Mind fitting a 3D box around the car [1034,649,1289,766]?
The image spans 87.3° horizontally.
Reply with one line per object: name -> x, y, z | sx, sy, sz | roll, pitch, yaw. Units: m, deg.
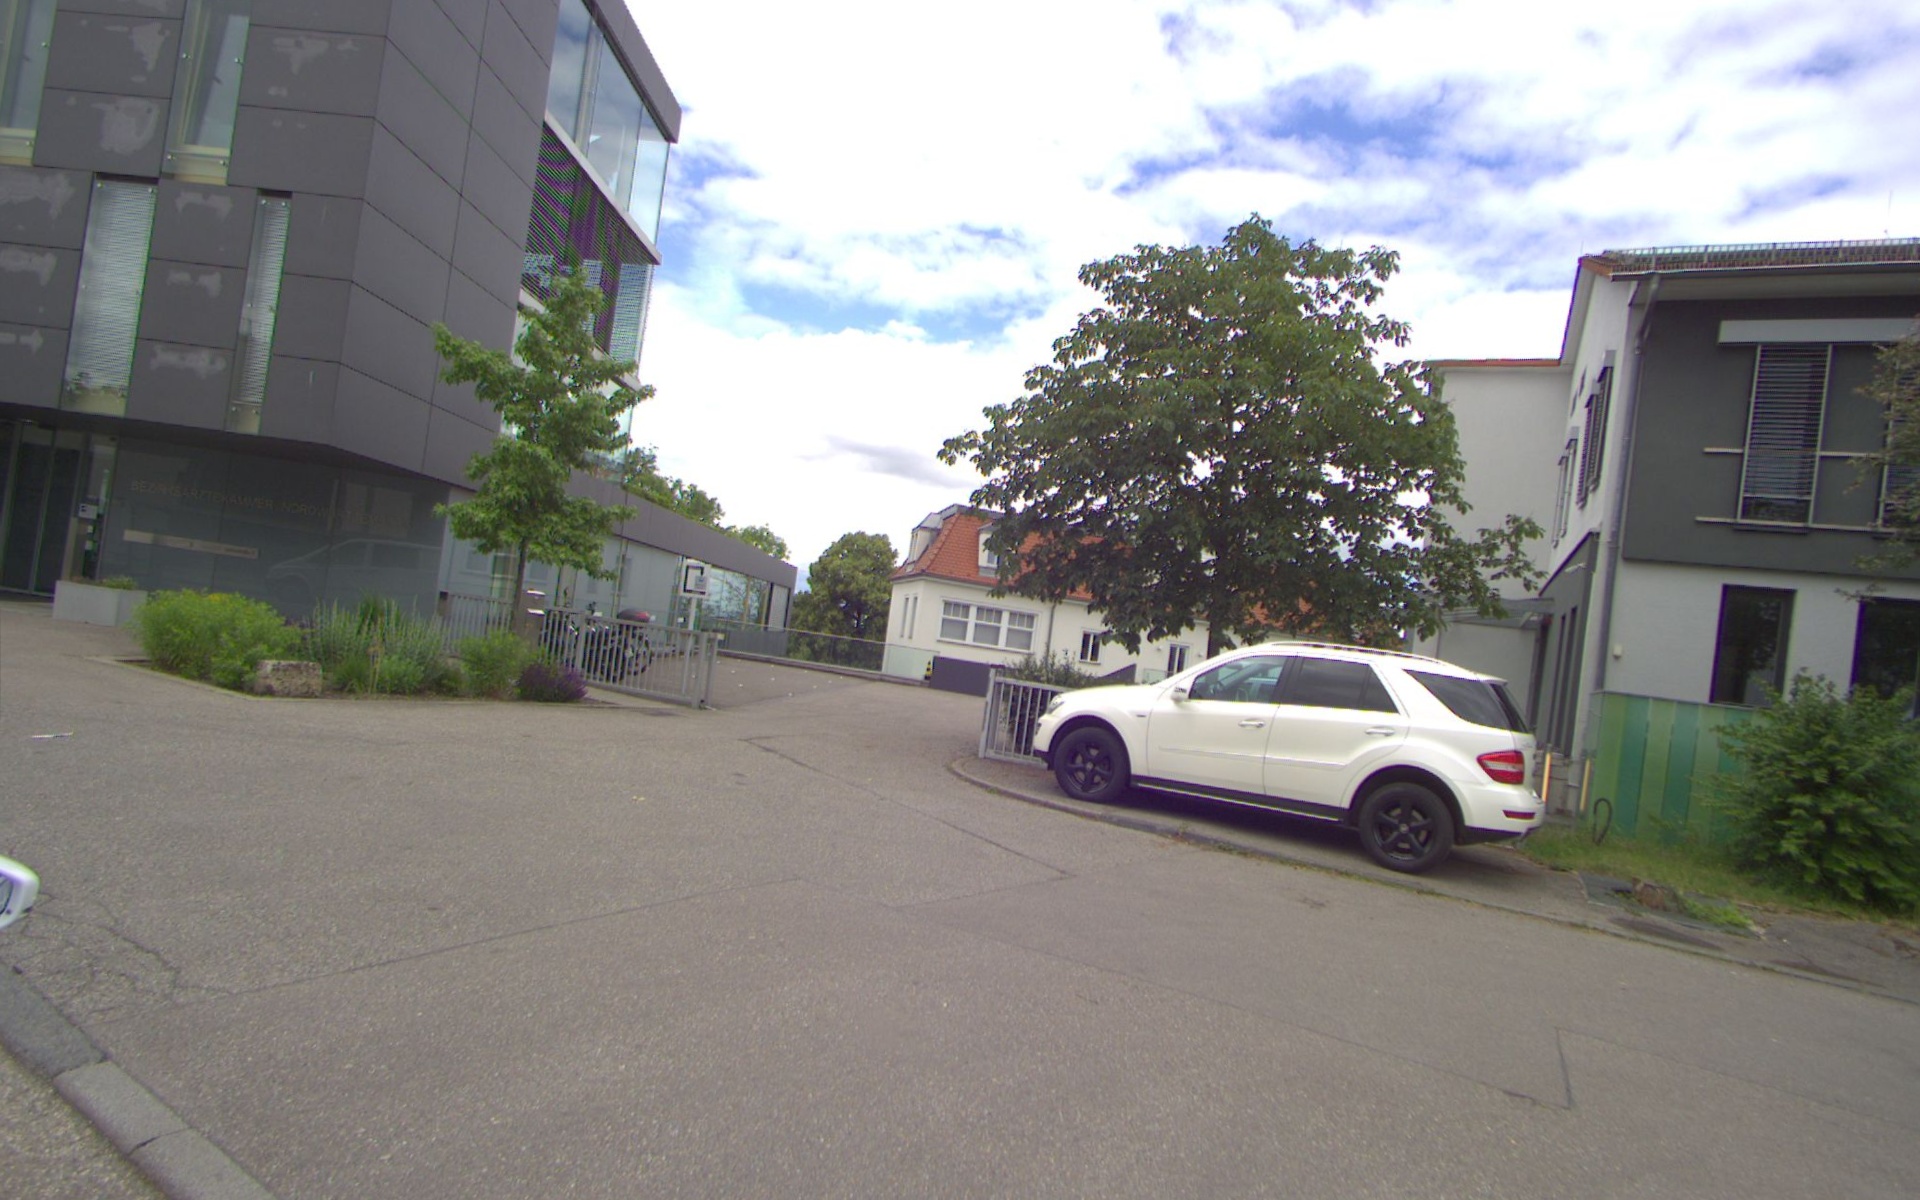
car -> 3.631, 1.885, 18.201 | 4.142, 1.501, 1.621 | 5, -2, 25

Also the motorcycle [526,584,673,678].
motorcycle -> -6.667, 0.574, 18.618 | 2.416, 1.409, 0.671 | 7, -1, 13

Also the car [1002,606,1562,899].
car -> 2.961, 1.256, 9.651 | 4.643, 1.778, 1.856 | 7, -2, 31

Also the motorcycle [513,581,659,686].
motorcycle -> -6.201, 0.553, 16.692 | 2.084, 1.409, 0.671 | 8, -1, 13
